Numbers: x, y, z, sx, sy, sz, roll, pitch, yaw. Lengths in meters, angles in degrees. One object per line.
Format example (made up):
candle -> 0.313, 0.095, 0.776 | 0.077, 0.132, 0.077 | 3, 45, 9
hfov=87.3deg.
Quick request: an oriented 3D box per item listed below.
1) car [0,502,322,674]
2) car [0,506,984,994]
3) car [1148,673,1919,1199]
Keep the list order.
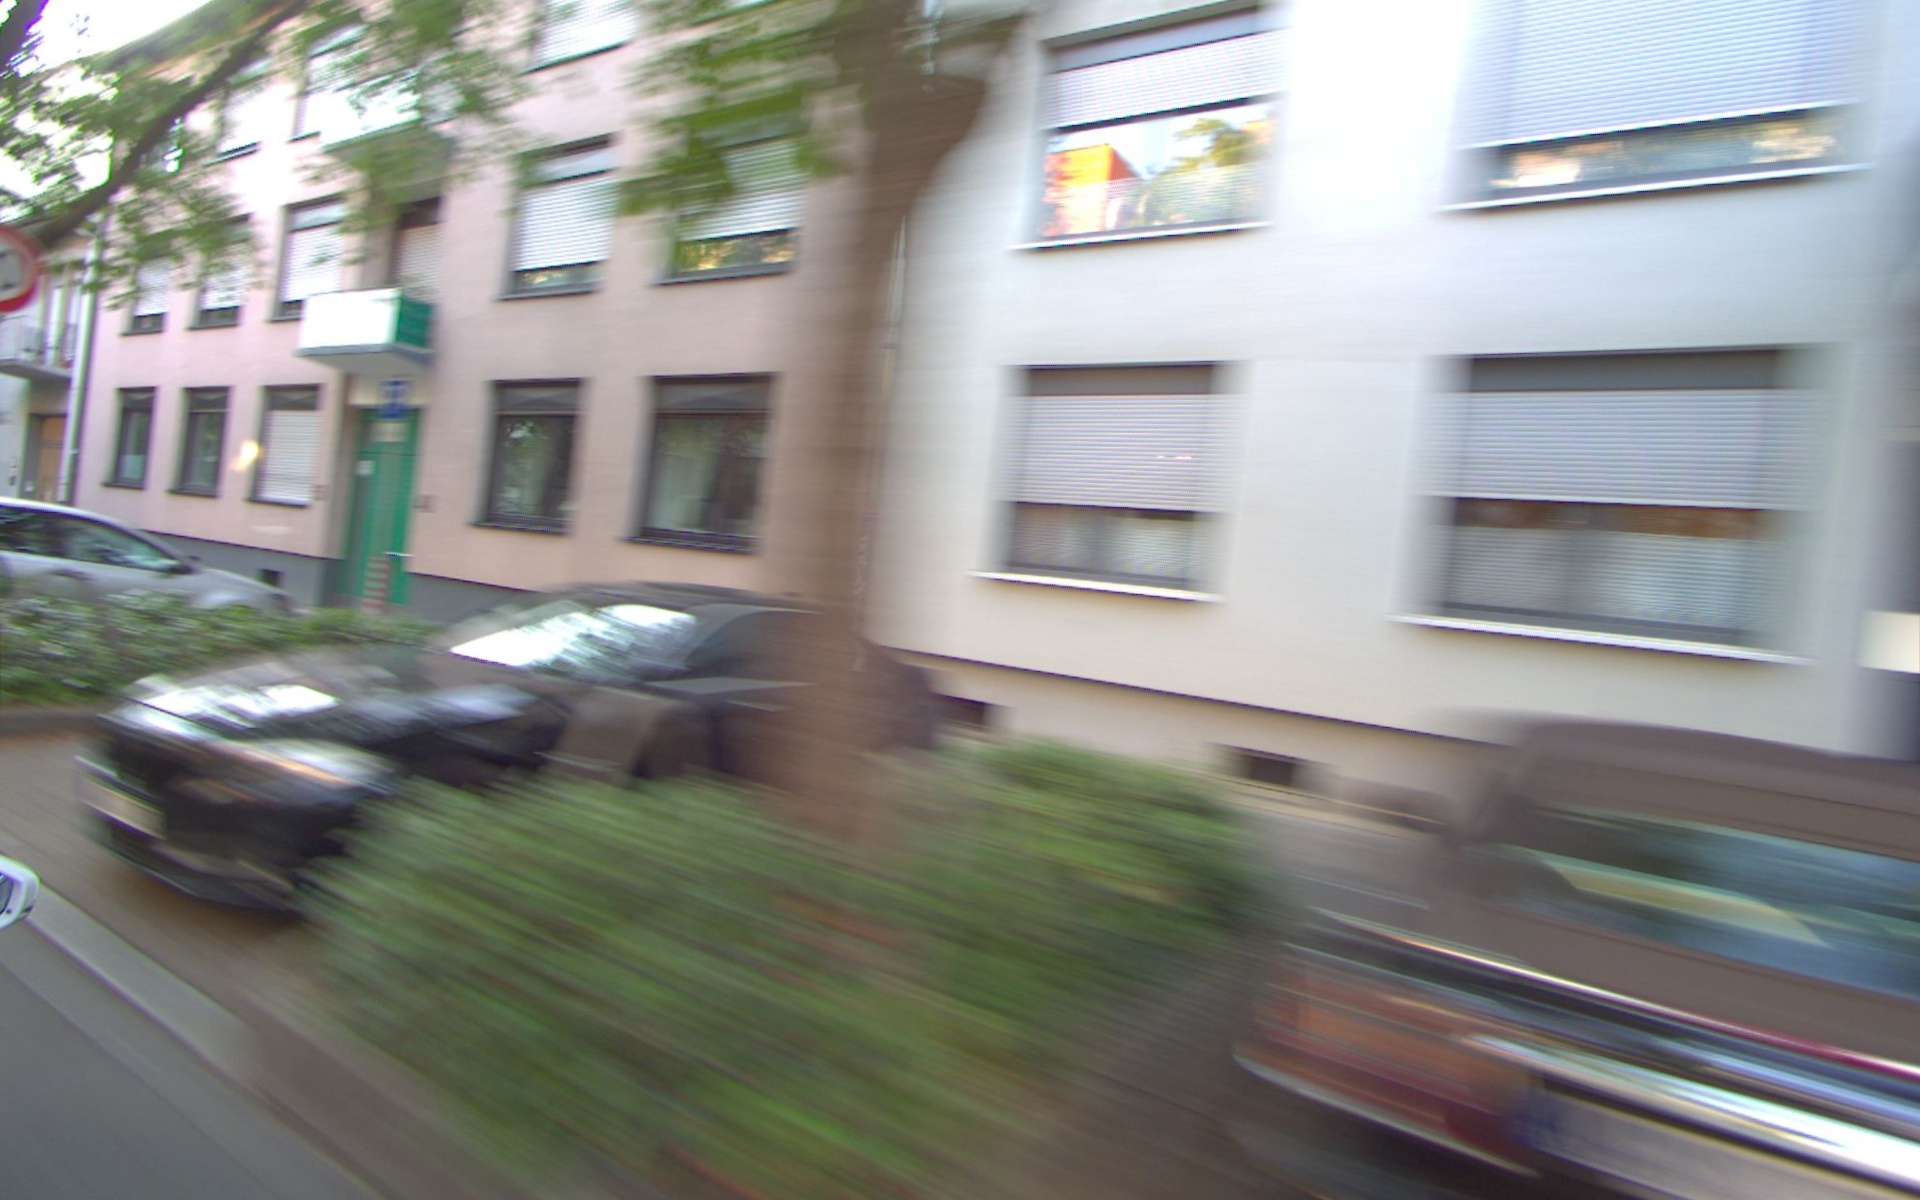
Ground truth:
car -> -8.717, -0.141, 9.684 | 1.816, 1.458, 3.883 | 7, 0, 29
car -> -1.976, 0.571, 5.700 | 2.002, 1.439, 4.716 | 7, 0, 32
car -> 2.023, 1.077, 2.882 | 1.867, 1.471, 3.488 | 7, 0, 30
